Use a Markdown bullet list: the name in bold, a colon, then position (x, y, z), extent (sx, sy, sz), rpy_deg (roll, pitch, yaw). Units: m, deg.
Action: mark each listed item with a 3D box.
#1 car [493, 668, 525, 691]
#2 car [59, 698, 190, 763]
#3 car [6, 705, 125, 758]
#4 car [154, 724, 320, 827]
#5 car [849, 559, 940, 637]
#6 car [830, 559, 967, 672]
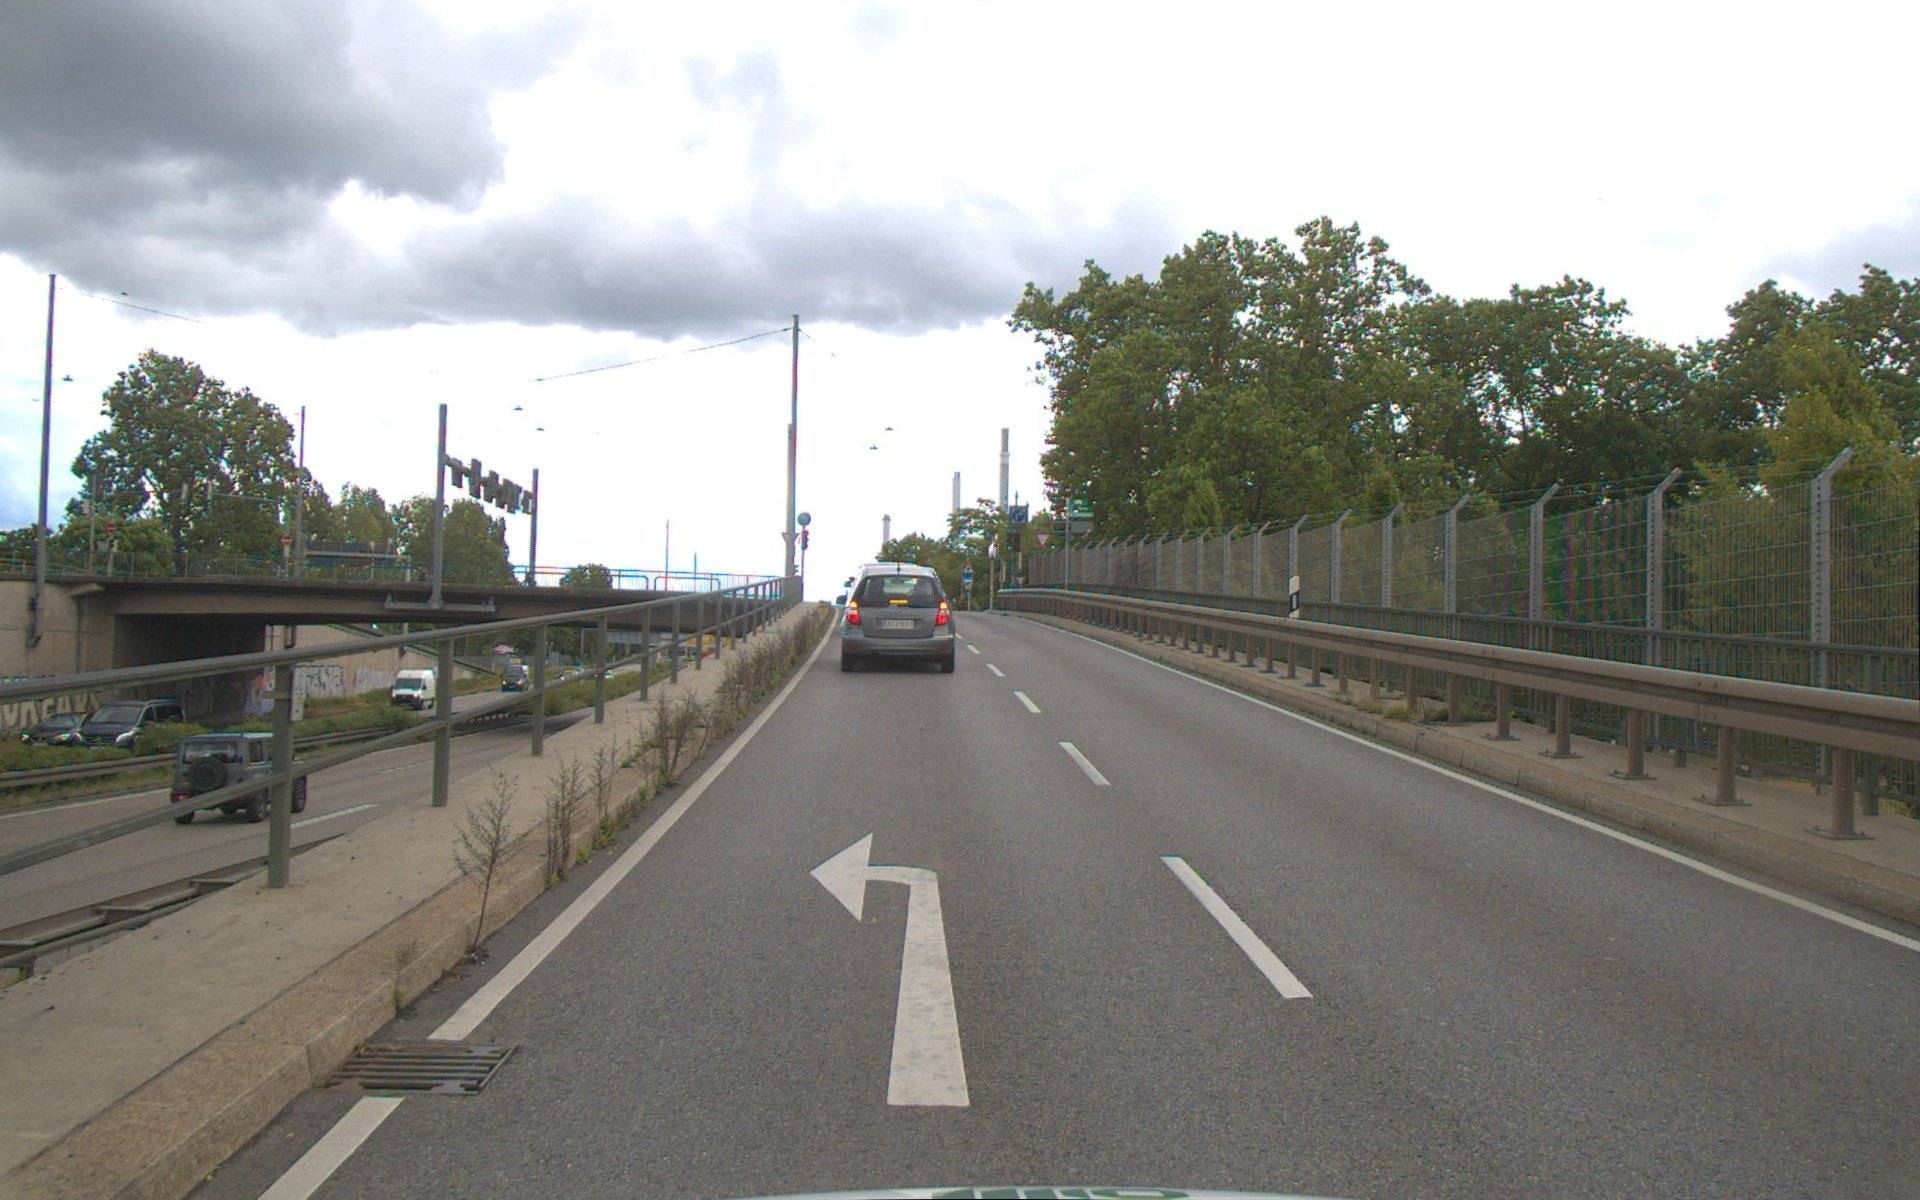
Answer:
- **car**: position (-44.125, 7.761, 161.857), extent (2.248, 2.193, 6.169), rpy_deg (0, -3, -9)
- **car**: position (-28.072, 4.341, 55.769), extent (2.051, 2.024, 5.110), rpy_deg (0, -3, -4)
- **car**: position (-31.951, 4.664, 59.259), extent (1.954, 1.722, 4.698), rpy_deg (0, -3, -4)
- **car**: position (-14.397, 3.461, 33.159), extent (1.647, 1.766, 3.996), rpy_deg (0, -2, -2)
- **car**: position (-1.482, -0.083, 37.398), extent (1.953, 1.631, 3.999), rpy_deg (0, 2, -3)
- **car**: position (-0.892, 0.266, 26.138), extent (1.713, 1.608, 4.086), rpy_deg (1, -1, 4)
